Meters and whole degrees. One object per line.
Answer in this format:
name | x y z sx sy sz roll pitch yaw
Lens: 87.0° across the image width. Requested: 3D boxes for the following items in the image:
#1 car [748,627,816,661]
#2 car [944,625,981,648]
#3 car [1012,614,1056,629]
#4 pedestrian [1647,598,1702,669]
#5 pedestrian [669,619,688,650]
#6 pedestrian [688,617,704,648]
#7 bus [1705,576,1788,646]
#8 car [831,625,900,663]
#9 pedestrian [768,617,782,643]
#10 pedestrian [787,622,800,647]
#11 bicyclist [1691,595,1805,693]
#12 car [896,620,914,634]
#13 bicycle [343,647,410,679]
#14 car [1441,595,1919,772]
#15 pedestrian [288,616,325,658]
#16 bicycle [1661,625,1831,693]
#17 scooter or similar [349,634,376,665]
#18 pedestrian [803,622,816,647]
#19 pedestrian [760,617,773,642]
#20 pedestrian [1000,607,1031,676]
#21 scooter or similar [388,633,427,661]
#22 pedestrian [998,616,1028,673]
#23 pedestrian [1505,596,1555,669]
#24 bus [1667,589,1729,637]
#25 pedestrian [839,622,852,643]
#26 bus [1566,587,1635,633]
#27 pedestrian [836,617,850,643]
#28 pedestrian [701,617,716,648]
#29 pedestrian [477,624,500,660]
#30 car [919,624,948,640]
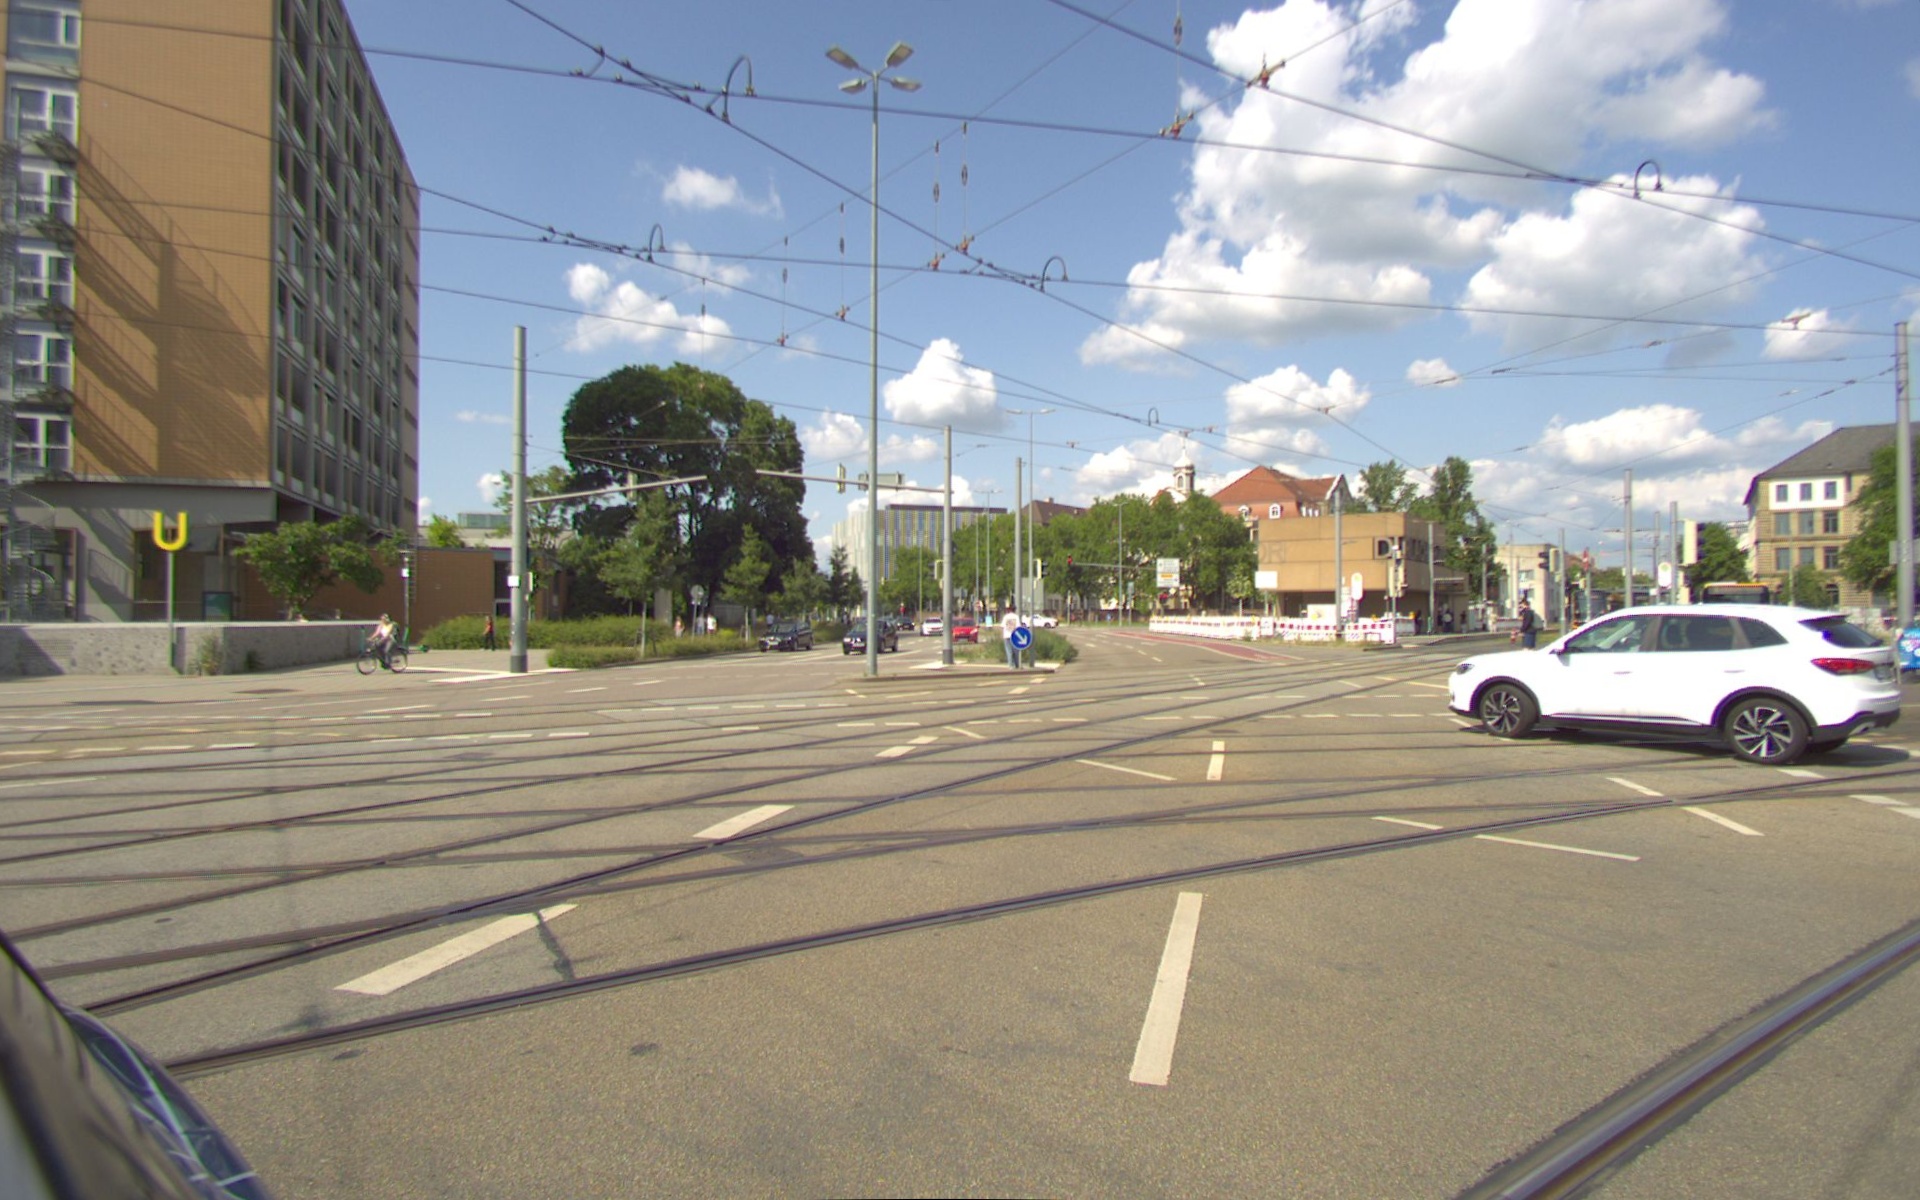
car | -8.613 2.112 49.172 1.809 1.474 3.982 -2 -1 14
car | 0.150 1.964 54.987 1.579 1.142 3.621 -3 -1 7
car | 7.329 2.134 99.718 3.971 1.364 1.767 -2 -1 21
pedestrian | 18.700 0.871 26.508 0.760 1.811 1.024 -3 -1 13
pedestrian | -14.991 1.845 53.961 0.609 1.634 0.886 2 -1 13
pedestrian | -14.888 1.820 57.020 0.607 1.713 0.889 2 -1 0
bus | 39.955 0.597 51.719 2.829 3.160 12.683 -1 -2 36
car | -3.970 1.848 43.210 1.808 1.474 3.984 -2 -1 13
pedestrian | -13.201 2.142 72.204 0.734 1.767 0.889 2 -1 0
pedestrian | -11.765 2.448 71.616 0.757 1.748 0.719 -2 -1 -3
bicyclist | 14.445 0.791 18.589 1.284 1.744 0.994 0 -1 4
car | -5.828 2.838 107.628 1.882 1.446 4.105 -1 -1 -3
bicycle | -17.403 1.874 30.221 0.643 0.887 1.814 1 -2 14
car | 8.235 0.840 11.787 2.010 1.651 4.296 1 -2 -38
pedestrian | -26.610 1.501 41.227 0.613 1.634 1.085 1 -1 30
bicycle | 14.399 1.066 18.603 2.271 1.197 0.994 0 -1 4
scooter or similar | -22.287 1.848 37.776 0.458 1.126 1.451 1 -2 -14
pedestrian | -10.698 2.470 71.916 0.757 1.748 0.719 -2 -1 -3
pedestrian | -13.833 2.122 72.361 0.734 1.759 0.889 2 -1 0
pedestrian | 1.568 1.161 28.606 0.839 1.931 0.691 0 -1 5
scooter or similar | -22.400 1.894 41.049 1.298 1.112 0.467 2 -2 -40
pedestrian | 1.547 1.289 29.601 0.839 1.660 0.691 0 -1 5
pedestrian | 15.454 0.882 27.439 0.754 1.917 0.829 -2 -1 -25
bus | 62.989 1.181 86.117 3.604 3.659 18.627 -2 -2 38
pedestrian | -9.641 2.753 85.179 0.916 1.748 0.767 -2 -1 3
bus | 51.822 0.881 81.458 3.469 3.208 23.492 -1 -2 35
pedestrian | -9.573 2.432 82.589 0.953 2.029 0.767 -2 -1 3
pedestrian | -14.147 1.838 56.994 0.607 1.713 0.889 2 -1 0
pedestrian | -21.705 1.925 46.604 0.874 1.634 0.618 2 -1 -23
car | -2.039 2.455 78.610 1.885 1.142 4.097 -1 -1 4
